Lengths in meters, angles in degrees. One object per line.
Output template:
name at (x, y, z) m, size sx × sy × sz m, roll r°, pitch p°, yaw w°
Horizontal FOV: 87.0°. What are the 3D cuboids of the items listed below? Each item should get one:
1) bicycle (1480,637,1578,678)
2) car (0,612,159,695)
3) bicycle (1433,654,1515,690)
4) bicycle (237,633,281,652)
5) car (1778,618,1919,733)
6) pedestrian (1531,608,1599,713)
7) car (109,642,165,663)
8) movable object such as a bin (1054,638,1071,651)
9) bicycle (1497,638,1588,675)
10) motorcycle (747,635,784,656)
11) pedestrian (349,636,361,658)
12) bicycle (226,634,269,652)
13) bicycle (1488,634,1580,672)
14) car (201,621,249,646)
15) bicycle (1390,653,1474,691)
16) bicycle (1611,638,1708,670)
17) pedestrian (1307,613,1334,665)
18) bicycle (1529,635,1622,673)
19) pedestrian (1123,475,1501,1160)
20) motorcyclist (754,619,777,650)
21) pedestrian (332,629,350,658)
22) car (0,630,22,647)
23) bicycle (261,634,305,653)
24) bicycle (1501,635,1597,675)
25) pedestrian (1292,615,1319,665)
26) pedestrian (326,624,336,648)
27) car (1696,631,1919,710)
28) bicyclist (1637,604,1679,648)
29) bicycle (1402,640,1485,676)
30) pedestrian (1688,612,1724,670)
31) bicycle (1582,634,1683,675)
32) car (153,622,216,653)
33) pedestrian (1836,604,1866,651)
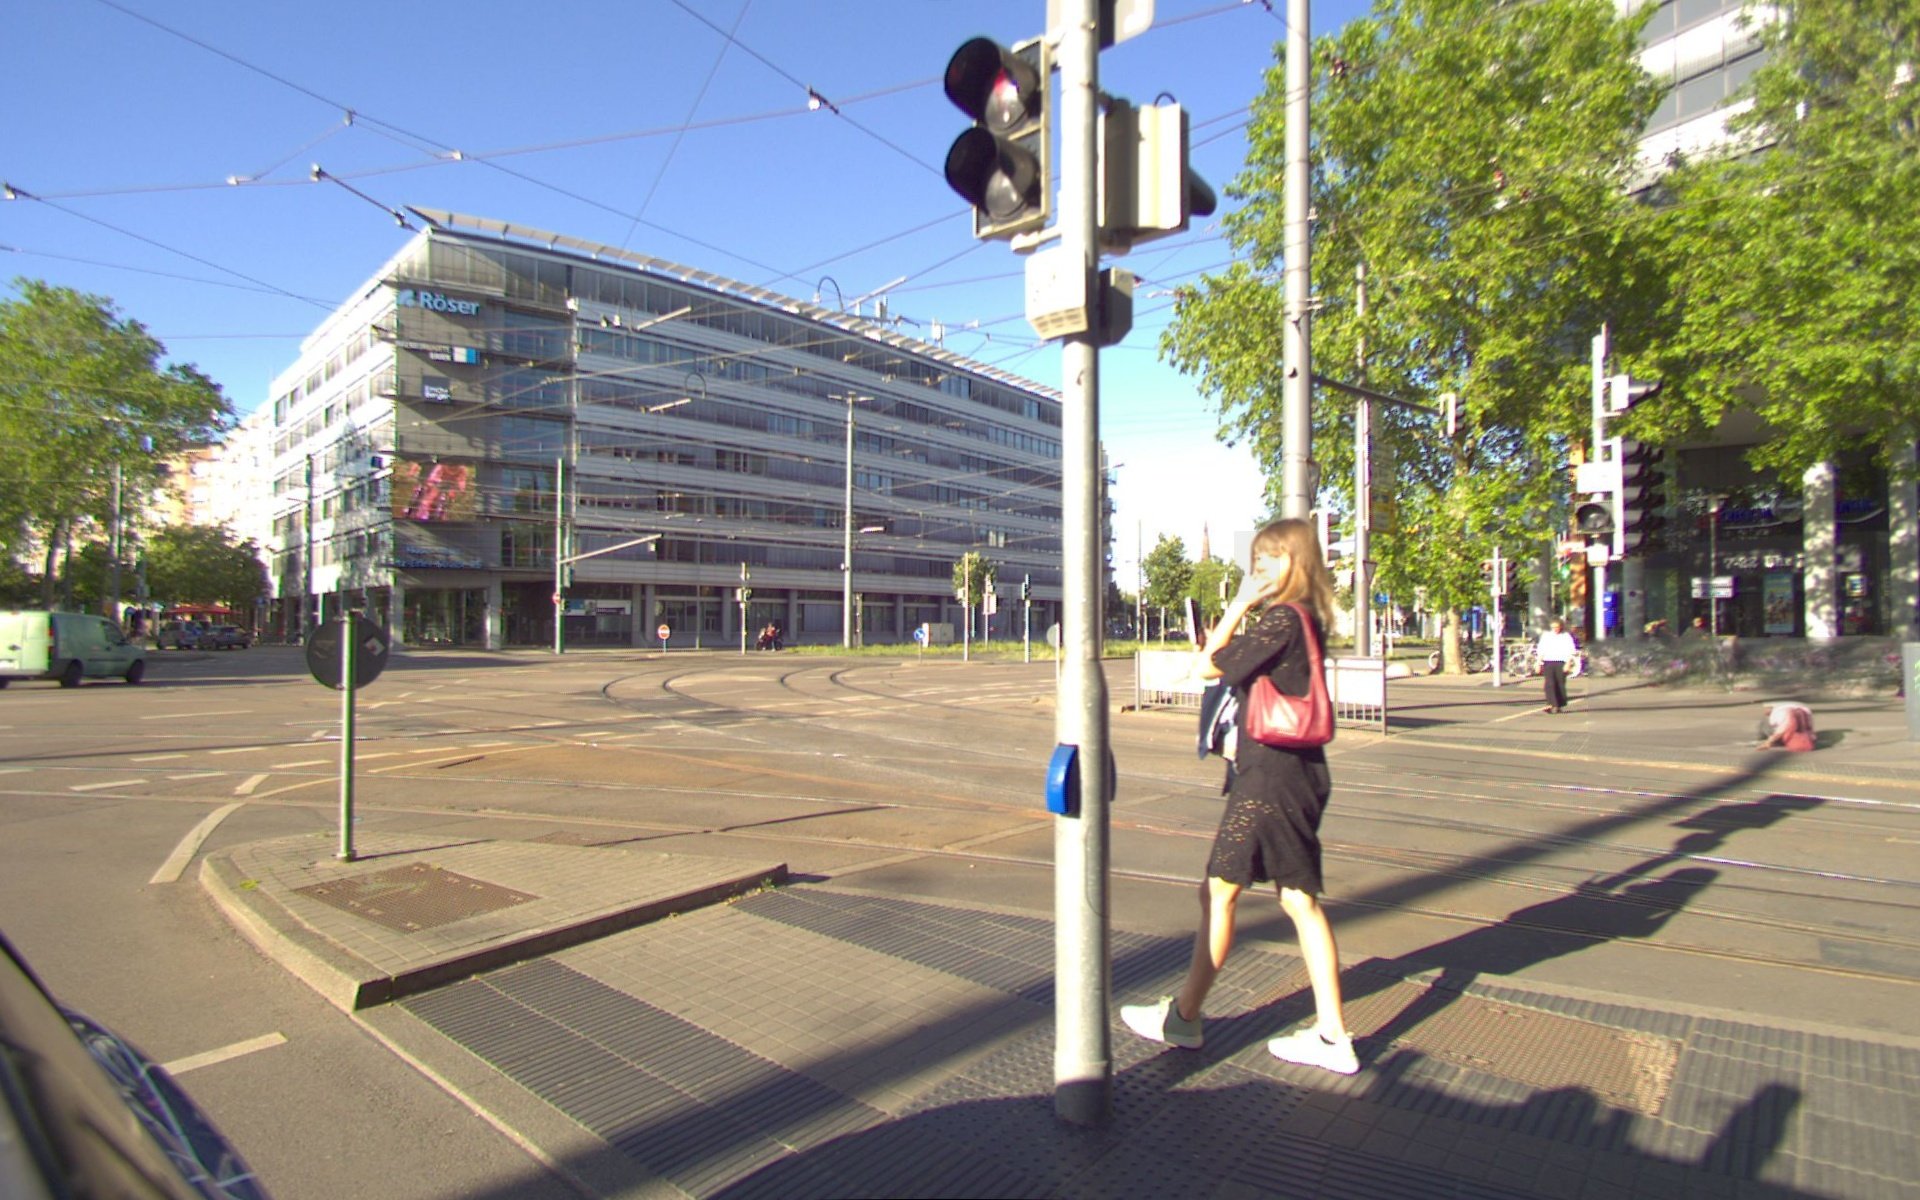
bicycle at (16.239, 1.619, 28.938) m, size 2.367 × 1.137 × 0.590 m, roll -2°, pitch -4°, yaw 43°
car at (-21.976, 1.237, 24.869) m, size 1.815 × 1.850 × 4.116 m, roll 1°, pitch -1°, yaw -10°
bicycle at (17.282, 2.409, 34.066) m, size 2.367 × 1.137 × 0.590 m, roll -2°, pitch -4°, yaw 44°
bicycle at (-47.140, 2.847, 68.096) m, size 0.771 × 1.223 × 2.374 m, roll -2°, pitch -4°, yaw 25°
car at (12.955, 0.947, 12.793) m, size 3.998 × 1.425 × 1.649 m, roll -1°, pitch -2°, yaw 41°
pedestrian at (10.072, 1.006, 16.863) m, size 0.818 × 1.693 × 0.717 m, roll 4°, pitch -4°, yaw -39°
car at (-61.215, 3.910, 75.292) m, size 3.959 × 1.486 × 1.849 m, roll -1°, pitch -3°, yaw 28°
movable object such as a bin at (10.536, 4.590, 104.185) m, size 1.329 × 1.311 × 1.157 m, roll -3°, pitch -3°, yaw 43°
bicycle at (18.057, 1.737, 31.420) m, size 2.367 × 1.137 × 0.590 m, roll -2°, pitch -4°, yaw 43°
motorcycle at (-11.888, 2.782, 61.925) m, size 0.821 × 1.230 × 2.225 m, roll -1°, pitch -2°, yaw 40°
pedestrian at (-34.499, 2.683, 57.725) m, size 0.461 × 1.219 × 0.437 m, roll -3°, pitch -4°, yaw 40°
bicycle at (-49.391, 2.992, 70.185) m, size 0.771 × 1.223 × 2.374 m, roll -2°, pitch -4°, yaw 25°
bicycle at (17.544, 1.606, 30.978) m, size 2.367 × 1.137 × 0.590 m, roll -2°, pitch -4°, yaw 43°
car at (-46.409, 2.132, 63.871) m, size 1.840 × 1.486 × 3.980 m, roll 2°, pitch -3°, yaw -45°
bicycle at (14.975, 2.260, 32.171) m, size 2.367 × 1.137 × 0.590 m, roll -2°, pitch -4°, yaw 44°
bicycle at (24.952, 1.919, 36.147) m, size 0.881 × 1.112 × 2.699 m, roll 2°, pitch -3°, yaw -33°
pedestrian at (13.356, 1.437, 37.521) m, size 0.733 × 1.884 × 0.664 m, roll -2°, pitch -3°, yaw 41°
bicycle at (19.068, 1.673, 31.390) m, size 2.367 × 1.137 × 0.590 m, roll -2°, pitch -4°, yaw 43°
pedestrian at (1.050, 0.557, 3.076) m, size 0.705 × 1.693 × 0.832 m, roll 4°, pitch -4°, yaw -41°
motorcyclist at (-11.920, 2.098, 61.877) m, size 0.821 × 1.871 × 1.097 m, roll -1°, pitch -2°, yaw 41°
pedestrian at (-35.223, 2.467, 57.594) m, size 0.792 × 1.653 × 0.652 m, roll -3°, pitch -4°, yaw 40°
car at (-85.348, 3.435, 89.825) m, size 3.959 × 1.486 × 1.849 m, roll -1°, pitch -3°, yaw 28°
bicycle at (-45.413, 2.915, 67.886) m, size 2.359 × 1.223 × 0.776 m, roll 3°, pitch -5°, yaw -44°
bicycle at (17.288, 1.608, 29.757) m, size 2.367 × 1.137 × 0.590 m, roll -2°, pitch -4°, yaw 43°
pedestrian at (13.119, 1.517, 38.476) m, size 0.734 × 1.884 × 0.689 m, roll -2°, pitch -3°, yaw 43°
pedestrian at (-48.097, 2.751, 77.365) m, size 0.577 × 1.747 × 0.795 m, roll 1°, pitch -4°, yaw -38°
car at (17.005, 1.320, 19.822) m, size 4.000 × 1.417 × 1.648 m, roll -1°, pitch -2°, yaw 43°
bicyclist at (24.960, 0.942, 36.202) m, size 0.881 × 1.560 × 0.941 m, roll 2°, pitch -3°, yaw -34°
bicycle at (15.898, 1.906, 33.331) m, size 2.367 × 1.137 × 0.590 m, roll -2°, pitch -4°, yaw 44°
pedestrian at (21.966, 1.215, 29.786) m, size 0.716 × 1.693 × 0.819 m, roll -2°, pitch -5°, yaw 44°
bicycle at (19.597, 1.582, 29.530) m, size 2.367 × 1.137 × 0.590 m, roll -2°, pitch -4°, yaw 43°
car at (-51.039, 2.475, 66.581) m, size 4.444 × 2.031 × 1.846 m, roll -2°, pitch -3°, yaw 33°
pedestrian at (32.182, 1.010, 36.555) m, size 0.695 × 1.665 × 0.699 m, roll 2°, pitch -3°, yaw -42°
